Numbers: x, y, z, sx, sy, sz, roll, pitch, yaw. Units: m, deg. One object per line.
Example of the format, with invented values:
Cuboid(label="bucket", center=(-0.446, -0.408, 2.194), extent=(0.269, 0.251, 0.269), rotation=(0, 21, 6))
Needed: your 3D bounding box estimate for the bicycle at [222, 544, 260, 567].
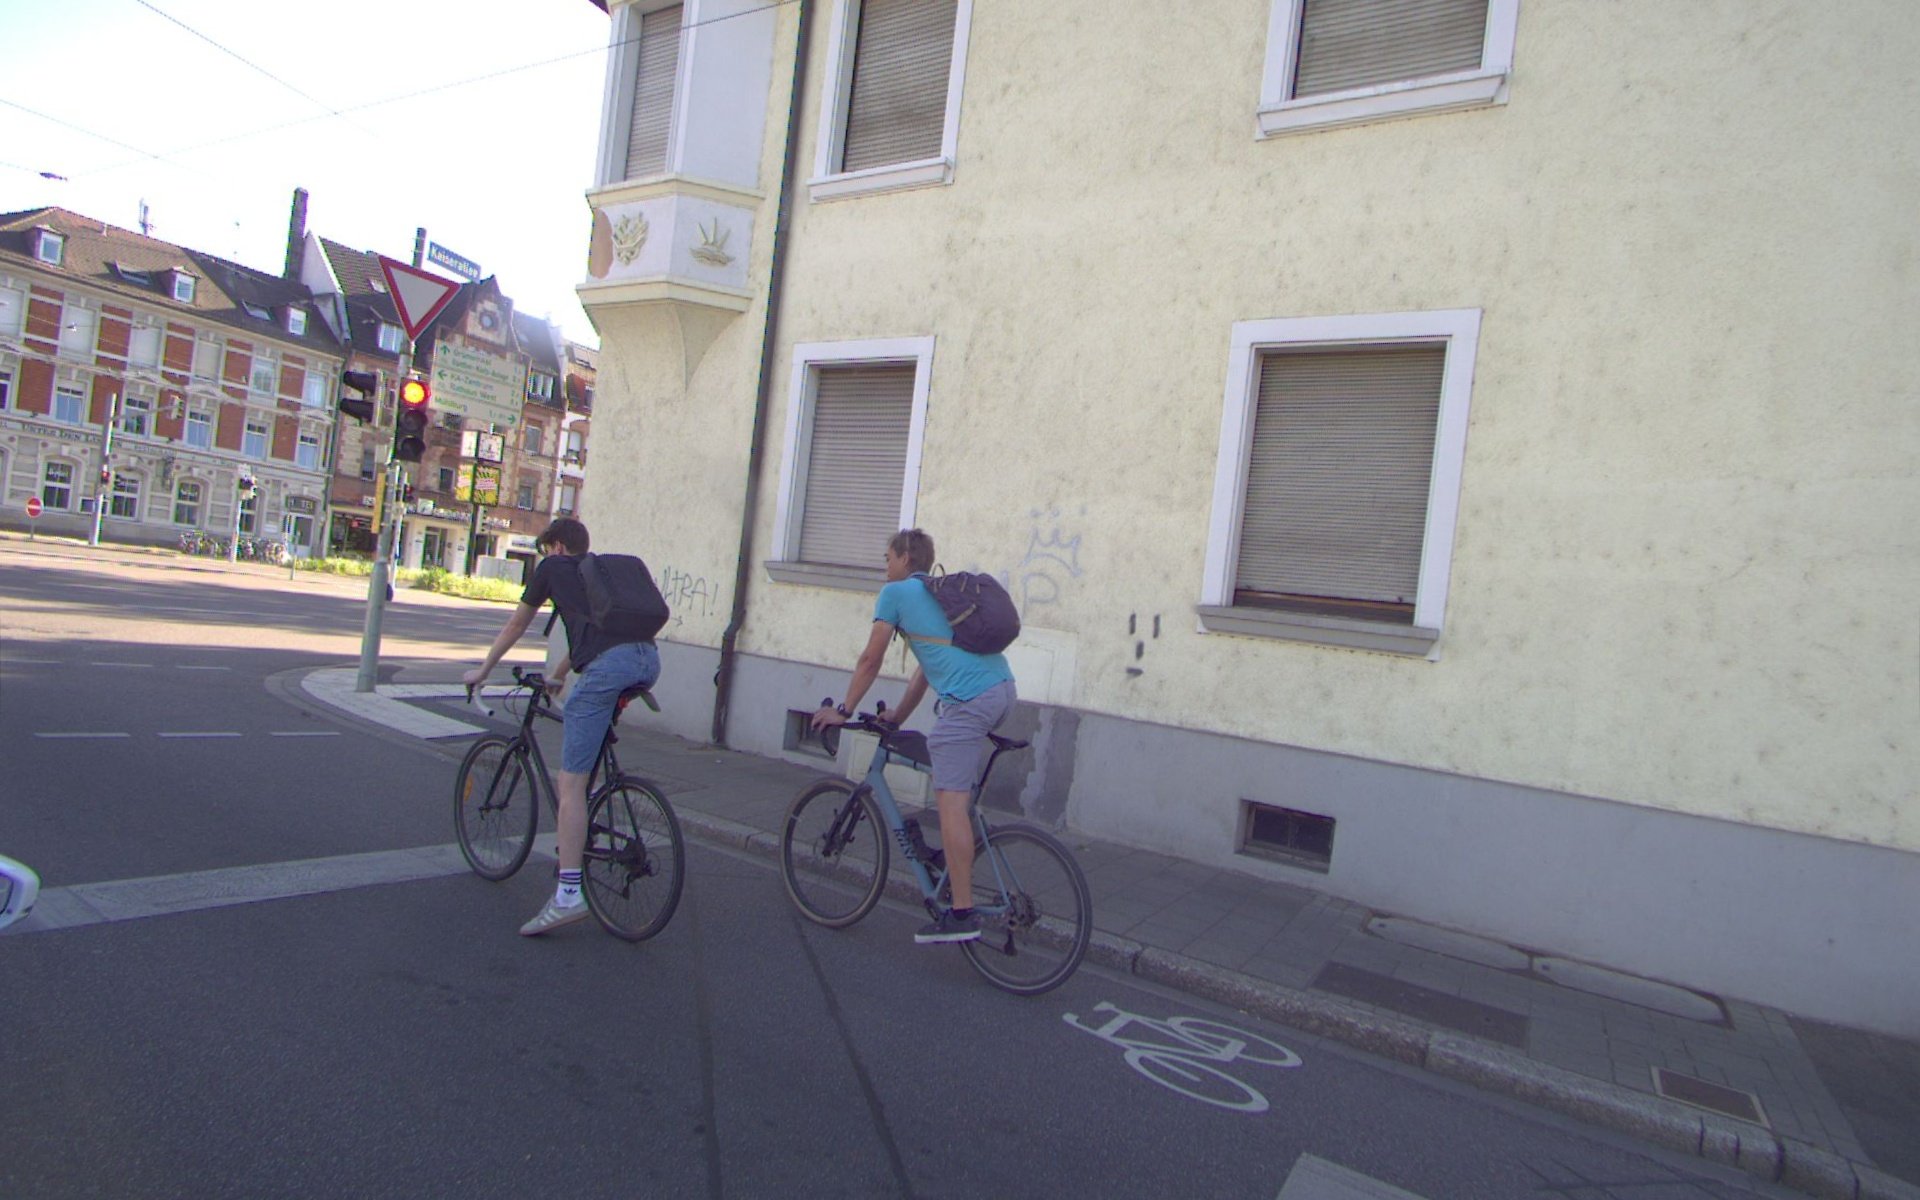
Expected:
Cuboid(label="bicycle", center=(-33.832, -2.089, 47.355), extent=(2.125, 0.850, 0.659), rotation=(6, -2, 33))

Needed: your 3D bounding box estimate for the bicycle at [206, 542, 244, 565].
Cuboid(label="bicycle", center=(-34.166, -2.156, 46.759), extent=(2.125, 0.850, 0.659), rotation=(6, -2, 33))

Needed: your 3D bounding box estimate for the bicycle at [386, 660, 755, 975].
Cuboid(label="bicycle", center=(-1.783, 0.874, 4.495), extent=(1.721, 0.982, 0.519), rotation=(7, 0, 32))

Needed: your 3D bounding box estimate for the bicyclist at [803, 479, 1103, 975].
Cuboid(label="bicyclist", center=(-0.042, 0.509, 4.523), extent=(0.930, 1.958, 0.518), rotation=(10, 2, 35))

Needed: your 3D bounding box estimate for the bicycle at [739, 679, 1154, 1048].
Cuboid(label="bicycle", center=(-0.123, 1.065, 4.534), extent=(1.767, 1.104, 0.518), rotation=(9, 1, 35))

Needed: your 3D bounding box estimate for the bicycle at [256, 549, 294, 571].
Cuboid(label="bicycle", center=(-33.089, -1.941, 48.590), extent=(2.125, 0.850, 0.659), rotation=(6, -2, 33))

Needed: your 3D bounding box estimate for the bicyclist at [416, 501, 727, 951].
Cuboid(label="bicyclist", center=(-1.735, 0.490, 4.474), extent=(1.098, 1.722, 0.573), rotation=(7, 0, 32))

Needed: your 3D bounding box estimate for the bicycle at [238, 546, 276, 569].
Cuboid(label="bicycle", center=(-33.477, -2.021, 47.886), extent=(2.125, 0.850, 0.659), rotation=(6, -2, 33))

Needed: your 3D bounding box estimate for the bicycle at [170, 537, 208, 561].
Cuboid(label="bicycle", center=(-34.856, -2.299, 45.471), extent=(2.125, 0.850, 0.659), rotation=(6, -2, 33))

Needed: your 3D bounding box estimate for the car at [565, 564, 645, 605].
Cuboid(label="car", center=(-22.996, -0.999, 65.316), extent=(1.968, 2.038, 4.430), rotation=(7, -1, 34))

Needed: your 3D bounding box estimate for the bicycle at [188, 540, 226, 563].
Cuboid(label="bicycle", center=(-34.540, -2.230, 46.138), extent=(2.125, 0.850, 0.659), rotation=(6, -2, 33))
